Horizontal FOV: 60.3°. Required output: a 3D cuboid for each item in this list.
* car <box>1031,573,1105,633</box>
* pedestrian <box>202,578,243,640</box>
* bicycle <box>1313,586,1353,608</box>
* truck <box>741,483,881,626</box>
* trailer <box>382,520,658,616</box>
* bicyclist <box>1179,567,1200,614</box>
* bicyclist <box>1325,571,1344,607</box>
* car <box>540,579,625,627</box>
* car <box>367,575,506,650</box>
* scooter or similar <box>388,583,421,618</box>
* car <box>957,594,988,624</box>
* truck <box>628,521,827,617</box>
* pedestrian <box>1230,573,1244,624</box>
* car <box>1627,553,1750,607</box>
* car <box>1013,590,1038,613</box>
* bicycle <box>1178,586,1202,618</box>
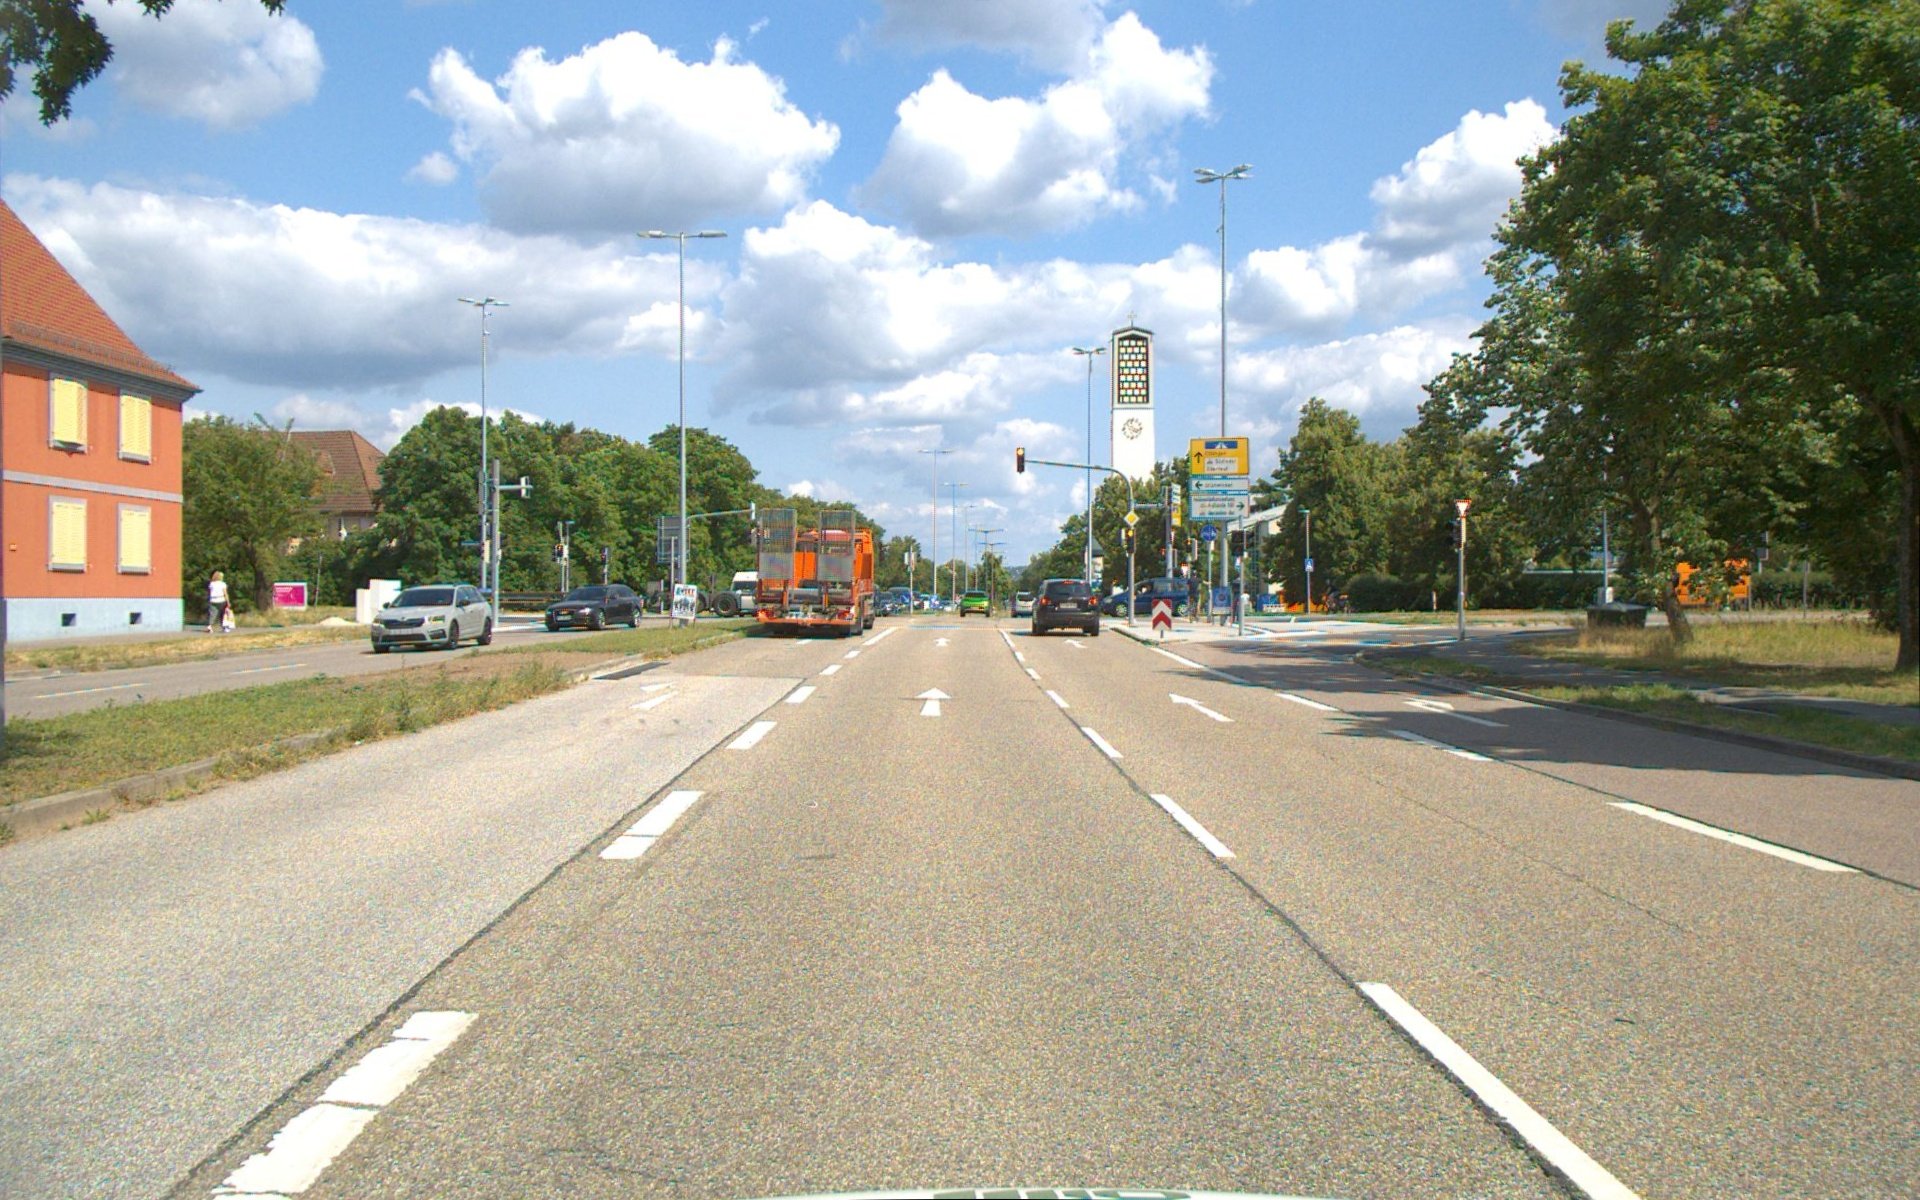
[{"bbox_3d":[3.055,0.089,47.400,1.763,1.579,3.999,2,0,-1],"label":"car"},{"bbox_3d":[-19.607,0.230,43.989,0.682,1.611,0.851,2,-1,-1],"label":"pedestrian"},{"bbox_3d":[19.591,-0.162,86.880,1.959,1.113,0.684,0,0,30],"label":"bicycle"},{"bbox_3d":[-3.974,-1.111,46.824,3.008,3.474,11.066,2,0,-1],"label":"truck"},{"bbox_3d":[-19.120,-1.385,72.342,11.044,4.082,3.634,0,1,4],"label":"trailer"},{"bbox_3d":[8.291,-0.340,59.658,0.634,1.690,0.650,2,-1,15],"label":"bicyclist"},{"bbox_3d":[19.663,-0.574,86.839,0.772,1.836,0.684,0,0,29],"label":"bicyclist"},{"bbox_3d":[-12.115,0.101,53.351,1.735,1.463,4.575,-1,0,-1],"label":"car"},{"bbox_3d":[-11.918,0.281,37.957,1.697,1.534,4.651,-3,0,-1],"label":"car"},{"bbox_3d":[-19.753,0.017,58.813,0.577,1.184,1.761,2,0,-1],"label":"scooter or similar"},{"bbox_3d":[0.748,0.518,99.138,1.705,1.698,3.589,2,0,-1],"label":"car"},{"bbox_3d":[-10.048,-1.312,72.225,8.443,4.040,2.965,0,0,-6],"label":"truck"},{"bbox_3d":[9.939,-0.056,59.322,0.454,1.810,0.482,2,-1,10],"label":"pedestrian"},{"bbox_3d":[32.520,-0.882,73.973,4.742,2.264,2.213,2,0,18],"label":"car"},{"bbox_3d":[4.847,0.113,122.671,1.624,1.582,3.999,2,0,-1],"label":"car"},{"bbox_3d":[8.327,0.081,59.843,0.634,1.127,1.929,2,0,15],"label":"bicycle"}]
